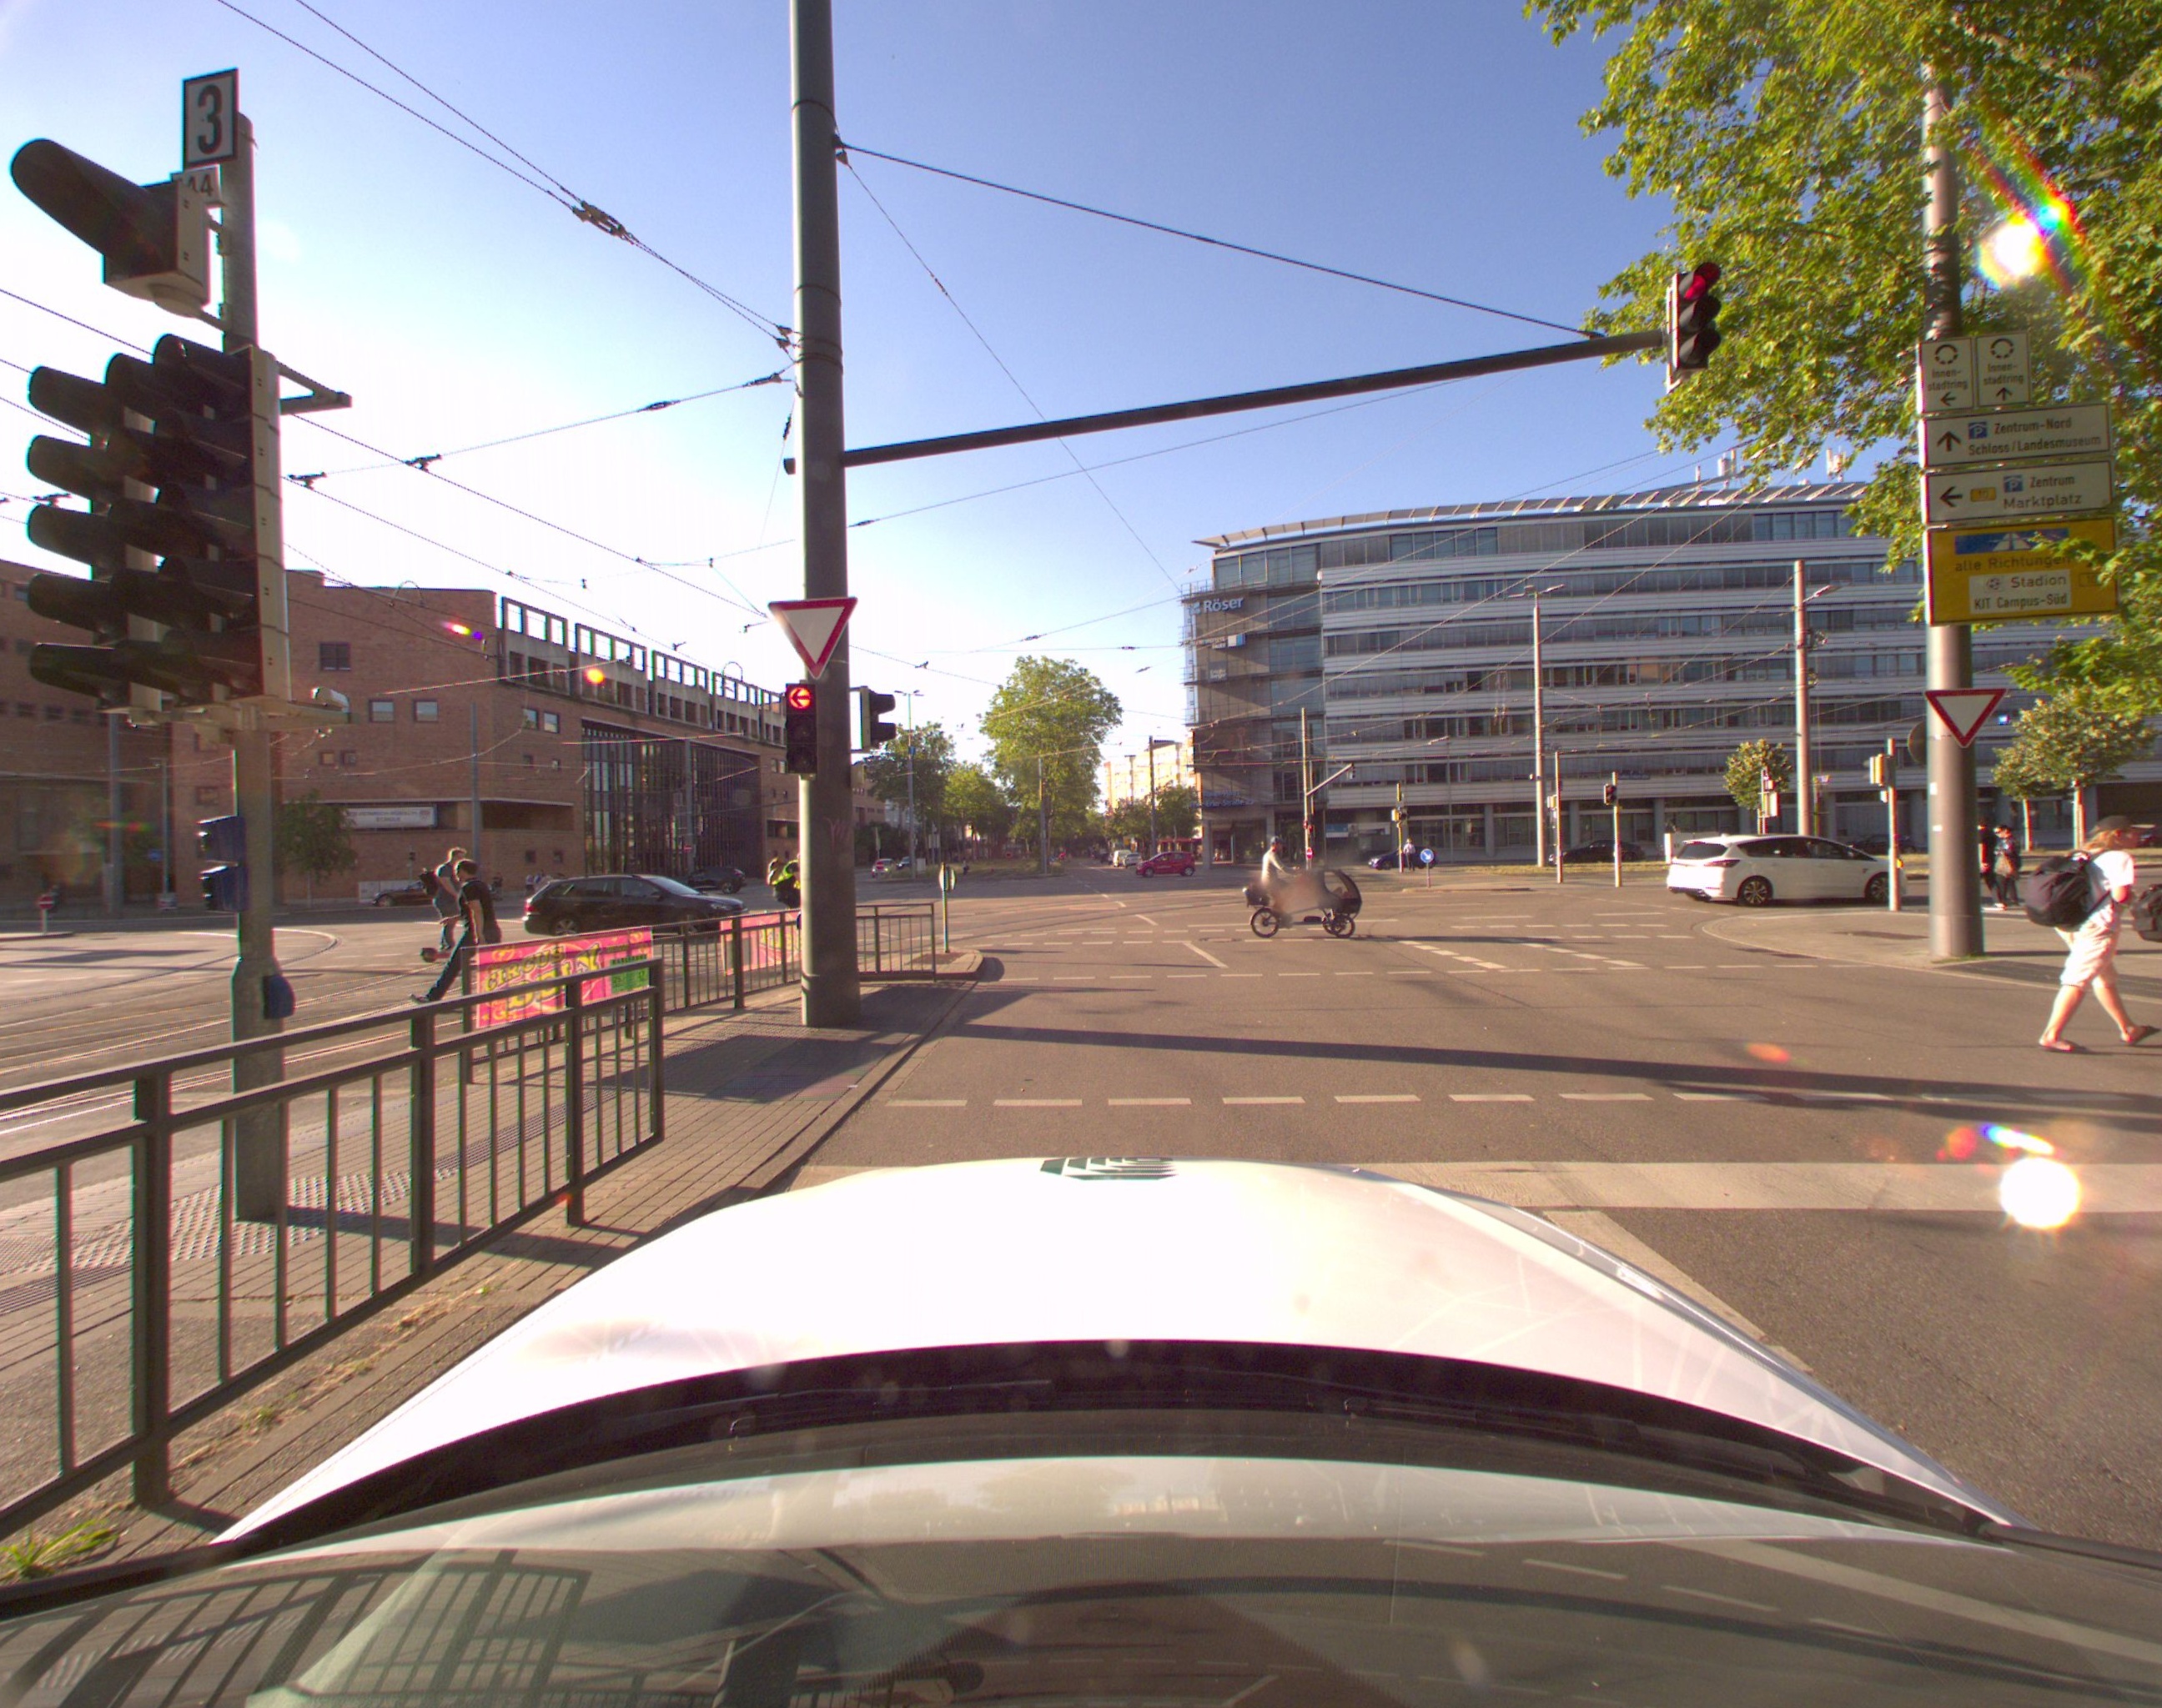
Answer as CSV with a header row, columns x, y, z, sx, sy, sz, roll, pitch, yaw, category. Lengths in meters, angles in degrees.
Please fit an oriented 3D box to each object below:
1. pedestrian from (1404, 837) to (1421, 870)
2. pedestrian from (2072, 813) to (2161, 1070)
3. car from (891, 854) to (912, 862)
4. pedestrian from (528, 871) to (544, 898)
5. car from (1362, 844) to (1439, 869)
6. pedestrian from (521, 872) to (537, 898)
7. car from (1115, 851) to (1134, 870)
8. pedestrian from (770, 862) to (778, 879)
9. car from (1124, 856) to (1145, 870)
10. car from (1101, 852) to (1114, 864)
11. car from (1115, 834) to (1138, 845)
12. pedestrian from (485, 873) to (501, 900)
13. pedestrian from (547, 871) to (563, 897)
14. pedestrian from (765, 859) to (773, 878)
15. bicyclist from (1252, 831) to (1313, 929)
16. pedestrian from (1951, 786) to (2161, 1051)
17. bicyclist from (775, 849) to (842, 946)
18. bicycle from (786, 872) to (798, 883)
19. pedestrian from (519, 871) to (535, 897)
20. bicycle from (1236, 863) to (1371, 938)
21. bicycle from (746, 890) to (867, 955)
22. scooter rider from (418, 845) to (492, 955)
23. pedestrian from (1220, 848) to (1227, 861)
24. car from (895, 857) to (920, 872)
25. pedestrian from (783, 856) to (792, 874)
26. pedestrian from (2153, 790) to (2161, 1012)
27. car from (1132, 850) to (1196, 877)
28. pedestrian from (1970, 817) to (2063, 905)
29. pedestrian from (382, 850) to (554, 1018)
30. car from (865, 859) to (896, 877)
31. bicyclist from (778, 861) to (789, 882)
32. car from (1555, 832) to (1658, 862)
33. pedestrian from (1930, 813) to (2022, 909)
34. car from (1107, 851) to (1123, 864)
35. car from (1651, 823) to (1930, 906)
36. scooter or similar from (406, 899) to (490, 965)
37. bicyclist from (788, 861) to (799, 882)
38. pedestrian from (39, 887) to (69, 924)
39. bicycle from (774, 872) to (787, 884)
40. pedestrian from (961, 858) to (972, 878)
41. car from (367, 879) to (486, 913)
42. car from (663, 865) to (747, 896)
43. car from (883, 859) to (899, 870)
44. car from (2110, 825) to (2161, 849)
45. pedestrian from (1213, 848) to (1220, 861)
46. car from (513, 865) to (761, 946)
x,y,z,sx,sy,sz,roll,pitch,yaw,category
17.283,-0.021,42.481,0.715,1.681,0.558,-1,0,9,pedestrian
7.587,0.568,5.435,1.071,1.681,0.756,-1,0,-6,pedestrian
-38.477,0.863,174.617,4.011,1.552,1.592,0,-1,-29,car
-34.716,1.943,51.847,0.623,1.650,0.536,-2,0,-9,pedestrian
19.558,0.141,50.016,3.968,1.348,1.979,-2,0,4,car
-35.512,1.968,52.387,0.622,1.650,0.537,-2,0,-4,pedestrian
4.746,0.674,89.768,1.986,1.991,4.002,-2,0,2,car
-31.535,1.695,83.670,0.487,1.810,0.547,-2,0,9,pedestrian
5.436,0.869,82.906,1.986,1.332,4.002,-2,0,2,car
4.143,0.588,126.842,1.986,1.662,4.002,-2,0,2,car
7.864,-2.490,140.639,3.732,1.750,1.789,0,-1,16,car
-35.343,1.959,48.914,0.538,1.613,0.575,-2,0,33,pedestrian
-34.187,1.916,52.940,0.623,1.650,0.537,-2,0,-6,pedestrian
-31.494,1.463,82.093,0.487,1.810,0.547,-2,0,9,pedestrian
3.574,0.452,14.511,0.900,1.681,0.692,-2,0,5,bicyclist
7.525,0.453,6.190,1.072,1.871,0.737,-1,0,-6,pedestrian
-4.831,0.758,14.489,0.900,1.664,0.640,-2,0,4,bicyclist
-23.592,1.918,66.552,0.512,0.881,1.835,-2,0,-6,bicycle
-36.135,1.978,53.152,0.622,1.650,0.537,-2,0,-5,pedestrian
3.900,0.805,14.458,2.147,1.226,1.074,-1,1,5,bicycle
-4.874,1.203,14.494,1.914,1.064,0.630,-1,0,4,bicycle
-11.253,0.811,14.654,0.660,1.896,0.737,-2,0,4,scooter rider
16.387,0.108,93.626,0.701,1.465,0.385,-2,0,11,pedestrian
-19.013,1.120,89.419,1.990,1.508,3.994,-2,0,-4,car
-29.555,1.082,82.007,0.637,1.810,0.547,-2,0,9,pedestrian
9.810,0.396,6.621,1.143,1.893,0.831,-1,0,-6,pedestrian
5.026,0.576,49.469,3.589,1.466,1.793,-2,0,-4,car
18.570,0.141,16.189,0.840,1.681,0.870,-1,0,9,pedestrian
-7.165,0.887,9.597,1.207,1.822,1.040,-2,-1,-5,pedestrian
-18.435,1.249,75.077,1.990,1.508,3.994,-2,0,-4,car
-24.270,1.405,66.374,0.592,1.675,0.788,-2,0,-4,bicyclist
27.946,-0.372,43.429,4.219,1.392,1.799,-2,0,6,car
17.470,0.144,15.920,0.840,1.820,0.870,-1,0,9,pedestrian
4.392,0.442,105.104,1.986,1.662,4.002,-2,0,2,car
16.633,0.244,19.290,4.816,1.727,2.001,-2,0,1,car
-11.337,1.399,14.592,1.201,1.104,0.403,-2,0,4,scooter or similar
-23.502,1.403,66.611,0.592,1.675,0.788,-2,0,-4,bicyclist
-45.815,2.287,36.334,0.542,1.613,0.613,0,1,-3,pedestrian
-24.414,1.967,66.266,0.512,0.881,1.835,-2,0,-6,bicycle
-8.934,1.071,63.546,0.753,1.530,0.507,-1,0,-6,pedestrian
-32.391,2.066,40.424,4.238,1.434,1.790,-2,0,-8,car
-20.832,1.441,45.277,3.866,1.507,1.787,-2,0,-14,car
-26.178,1.442,112.394,1.906,1.510,3.987,0,-1,-9,car
65.381,-1.071,49.214,3.970,1.398,1.761,-2,0,3,car
15.659,0.045,94.002,0.734,1.465,0.538,-2,0,11,pedestrian
-9.761,1.100,18.258,4.378,1.517,1.996,-2,1,-6,car
